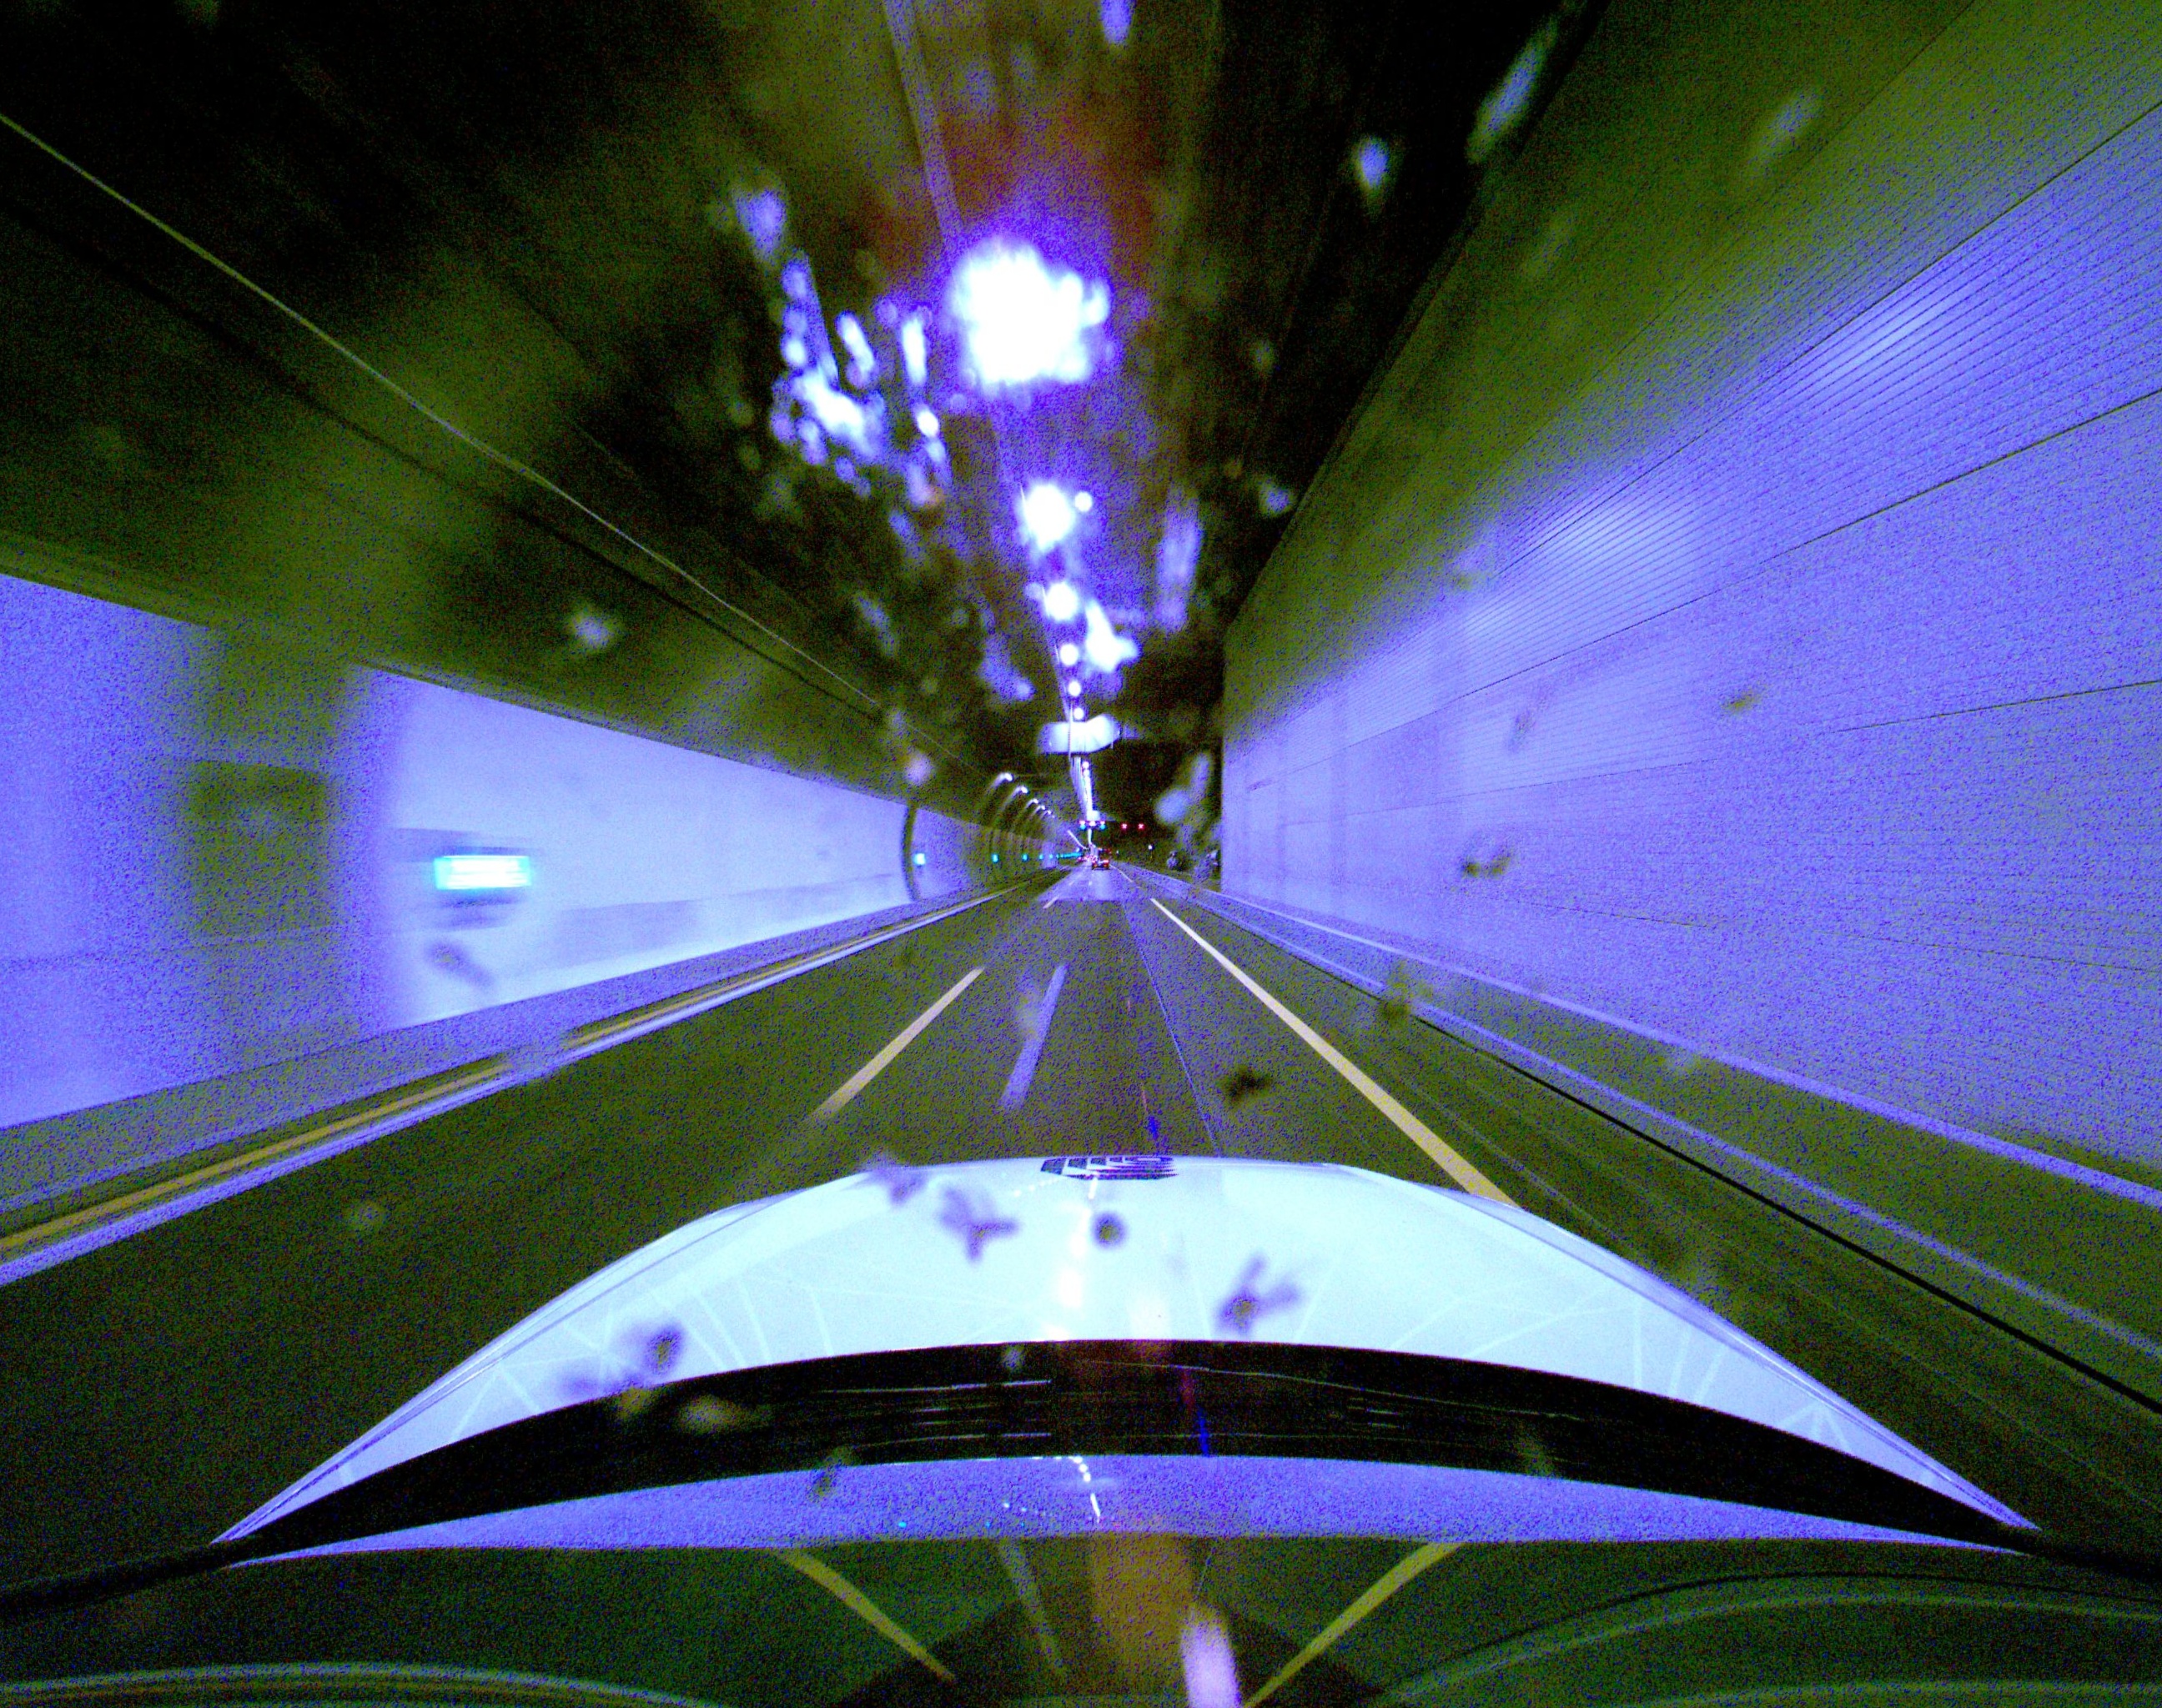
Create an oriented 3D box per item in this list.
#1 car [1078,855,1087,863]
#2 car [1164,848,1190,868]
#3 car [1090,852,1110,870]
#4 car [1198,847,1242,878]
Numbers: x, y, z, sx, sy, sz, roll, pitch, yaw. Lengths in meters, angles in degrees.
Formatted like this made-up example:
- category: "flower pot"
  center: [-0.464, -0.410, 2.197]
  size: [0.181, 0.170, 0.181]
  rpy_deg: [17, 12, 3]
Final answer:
- category: "car"
  center: [0.394, 1.090, 182.138]
  size: [1.924, 1.687, 4.000]
  rpy_deg: [-1, 0, 0]
- category: "car"
  center: [9.512, 0.359, 80.949]
  size: [1.747, 1.845, 4.640]
  rpy_deg: [-2, 0, -3]
- category: "car"
  center: [1.997, 0.695, 85.991]
  size: [1.940, 1.794, 4.000]
  rpy_deg: [-1, 0, 0]
- category: "car"
  center: [8.636, 0.515, 51.049]
  size: [1.822, 1.858, 5.440]
  rpy_deg: [0, 0, 0]
